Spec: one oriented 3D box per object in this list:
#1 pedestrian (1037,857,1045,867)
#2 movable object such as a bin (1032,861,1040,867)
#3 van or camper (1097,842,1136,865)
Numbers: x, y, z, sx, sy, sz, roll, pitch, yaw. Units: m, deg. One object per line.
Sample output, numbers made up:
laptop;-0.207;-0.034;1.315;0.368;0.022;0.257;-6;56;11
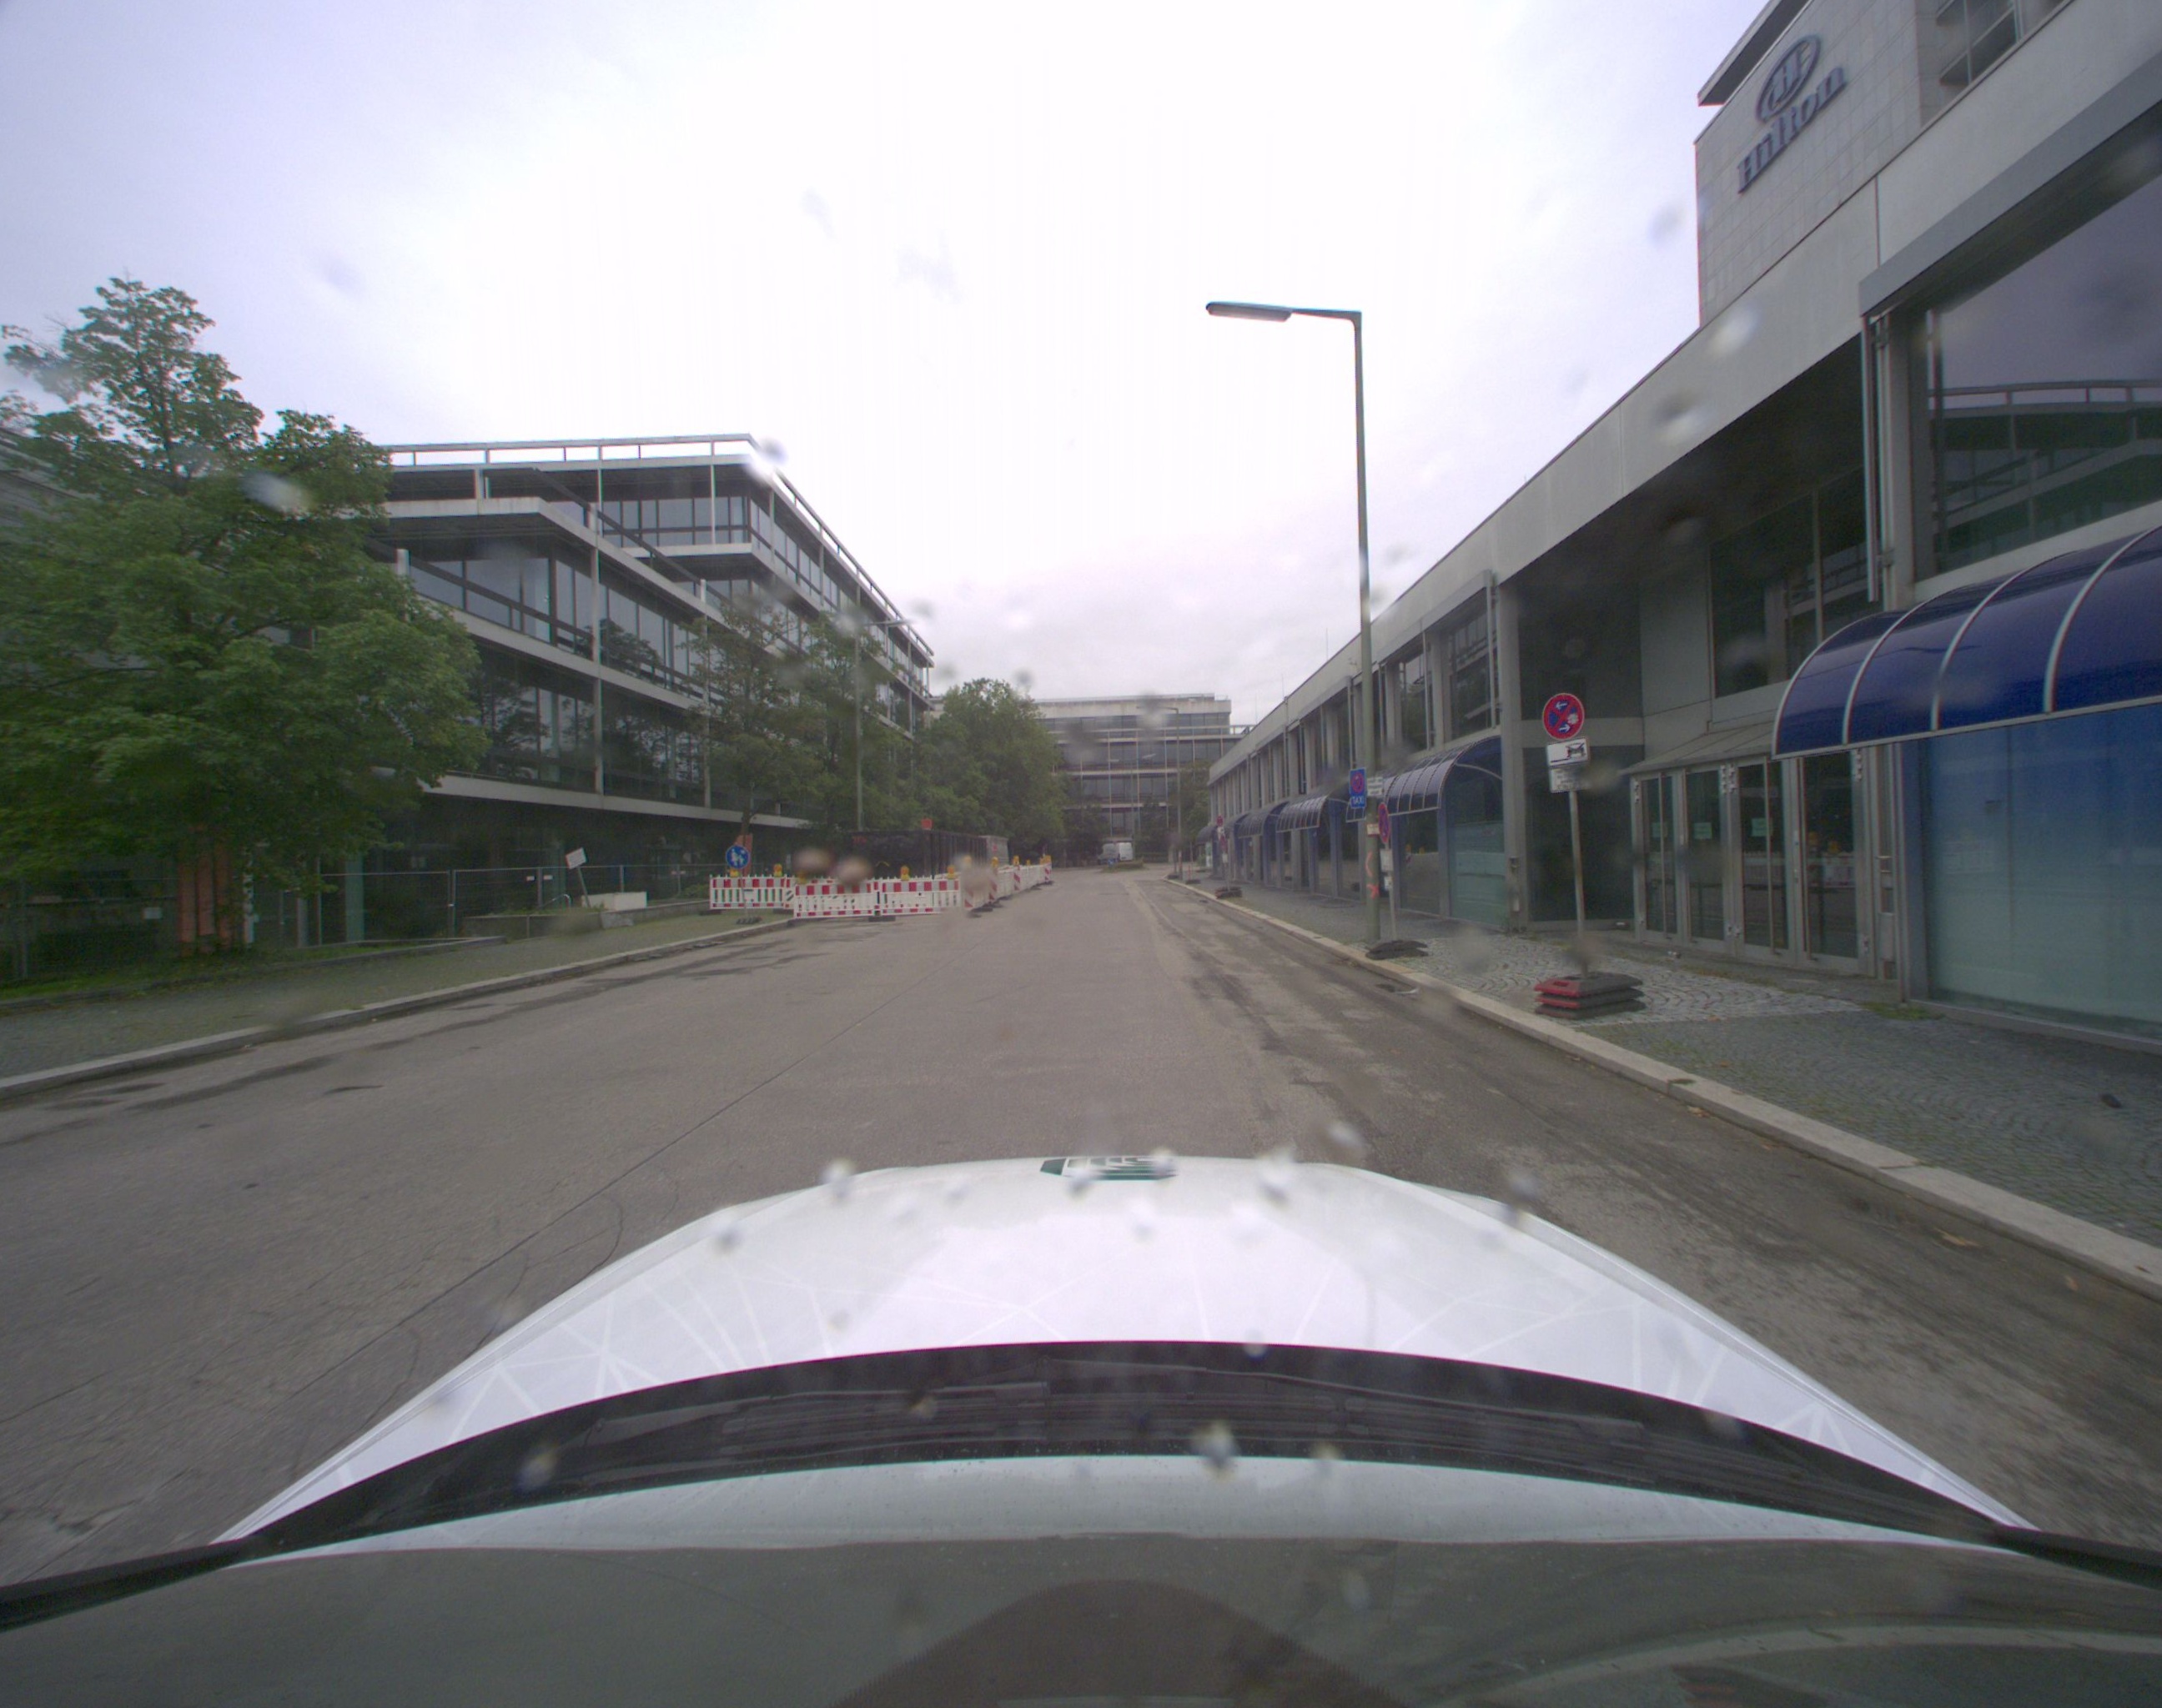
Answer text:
pedestrian;-4.827;0.970;98.060;0.922;1.278;0.542;-1;0;4
movable object such as a bin;-5.388;1.233;98.036;0.830;0.753;0.573;-1;0;4
van or camper;4.285;-0.025;99.990;2.165;2.581;6.487;-1;-2;-23
